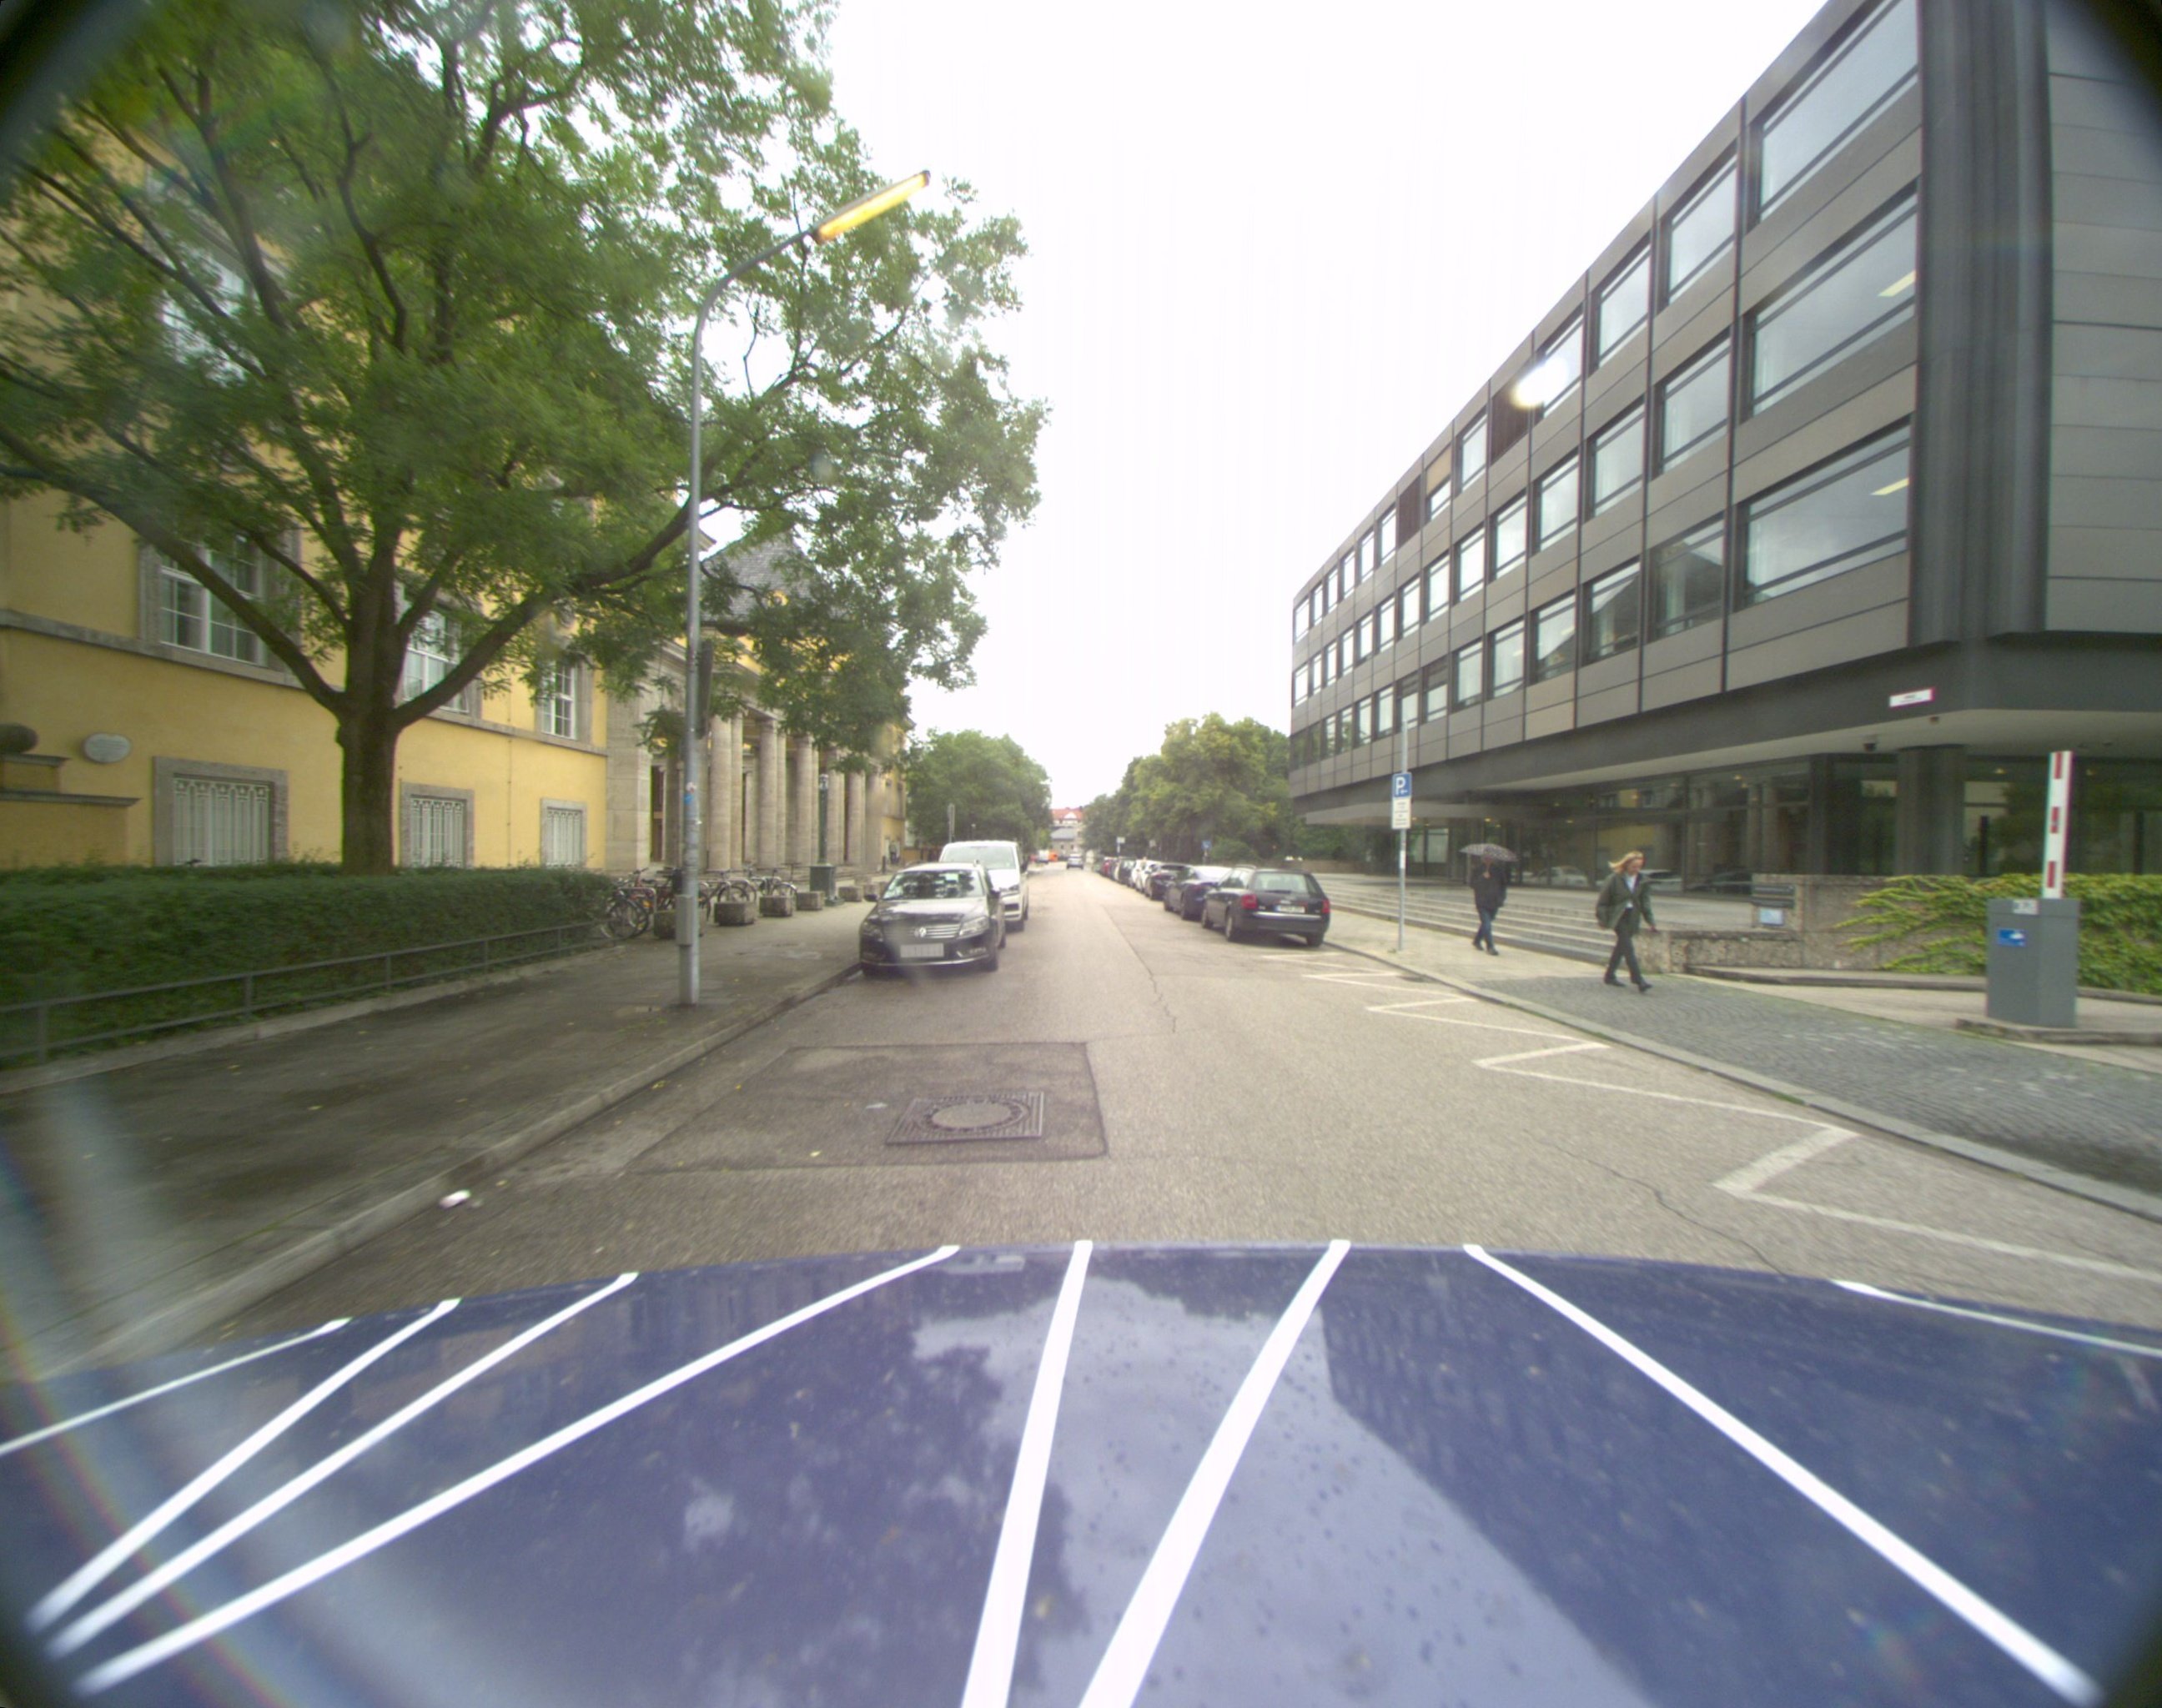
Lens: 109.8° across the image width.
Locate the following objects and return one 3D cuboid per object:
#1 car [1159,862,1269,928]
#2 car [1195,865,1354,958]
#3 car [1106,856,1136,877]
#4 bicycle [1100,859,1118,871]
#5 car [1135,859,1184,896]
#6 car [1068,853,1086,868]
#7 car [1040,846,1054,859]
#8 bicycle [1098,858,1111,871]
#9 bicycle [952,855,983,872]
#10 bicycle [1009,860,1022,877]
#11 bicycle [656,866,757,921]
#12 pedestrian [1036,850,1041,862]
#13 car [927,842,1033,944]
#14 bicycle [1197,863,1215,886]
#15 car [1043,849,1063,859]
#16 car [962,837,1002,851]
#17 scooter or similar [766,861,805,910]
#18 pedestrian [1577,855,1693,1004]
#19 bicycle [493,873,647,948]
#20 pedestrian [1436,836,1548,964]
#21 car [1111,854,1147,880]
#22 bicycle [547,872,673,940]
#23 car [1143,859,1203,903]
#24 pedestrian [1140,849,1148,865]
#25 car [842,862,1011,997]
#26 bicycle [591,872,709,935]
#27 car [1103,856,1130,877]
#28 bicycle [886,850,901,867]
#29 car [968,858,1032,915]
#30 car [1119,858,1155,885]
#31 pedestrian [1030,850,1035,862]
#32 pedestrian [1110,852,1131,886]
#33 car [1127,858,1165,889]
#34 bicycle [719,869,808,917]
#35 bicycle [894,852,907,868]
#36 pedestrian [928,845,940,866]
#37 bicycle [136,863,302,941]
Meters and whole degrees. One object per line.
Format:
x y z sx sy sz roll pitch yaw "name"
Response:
3.510 1.039 21.040 1.928 1.431 4.916 3 1 -3 "car"
3.772 1.046 15.783 1.998 1.482 4.883 2 0 0 "car"
2.973 0.877 57.155 1.999 1.452 4.646 1 0 0 "car"
2.705 1.081 73.236 1.700 1.101 0.598 0 1 -10 "bicycle"
3.486 1.018 34.375 1.686 1.432 4.278 3 0 -1 "car"
-0.397 0.695 89.634 2.030 1.679 4.677 1 0 0 "car"
-6.388 -0.289 143.079 2.237 2.289 4.727 -2 1 -7 "car"
2.318 0.997 74.754 0.574 1.275 1.421 0 0 31 "bicycle"
-8.959 0.756 59.778 2.265 1.088 0.601 6 1 -12 "bicycle"
-4.667 1.017 54.588 0.762 1.094 2.263 3 0 -2 "bicycle"
-8.129 0.848 16.512 1.936 1.107 0.471 2 1 1 "bicycle"
-7.057 0.361 126.262 0.777 1.855 0.996 -2 1 -7 "pedestrian"
-2.131 0.752 17.497 1.850 1.922 5.271 -2 0 -2 "car"
6.673 1.066 40.563 0.644 1.157 1.527 -2 0 -3 "bicycle"
-7.589 -0.113 205.925 4.973 2.521 2.578 -1 1 42 "car"
-12.676 -1.298 97.634 4.909 1.672 1.966 1 1 -3 "car"
-7.762 0.808 19.941 1.009 1.215 0.539 2 1 44 "scooter or similar"
6.817 0.894 9.405 0.754 1.739 0.953 -1 1 5 "pedestrian"
-8.109 0.891 12.102 2.037 1.107 0.471 2 1 -4 "bicycle"
6.902 0.740 12.842 1.138 2.043 1.221 2 1 -2 "pedestrian"
3.170 0.843 51.322 1.999 1.574 4.521 1 0 -1 "car"
-8.399 0.919 13.587 1.936 1.107 0.471 2 1 0 "bicycle"
3.479 0.991 29.338 1.744 1.452 4.236 3 0 0 "car"
7.059 0.317 85.228 0.798 1.722 0.660 -2 1 -3 "pedestrian"
-2.060 0.923 11.518 1.776 1.481 4.972 -2 0 -3 "car"
-8.145 0.929 14.381 1.936 1.107 0.471 2 1 1 "bicycle"
2.843 0.990 62.011 1.999 1.535 4.363 1 0 0 "car"
-14.780 0.367 59.994 0.601 1.299 2.263 1 0 -1 "bicycle"
-2.345 0.904 22.596 1.609 1.537 2.933 -1 0 -1 "car"
3.268 1.005 45.037 1.762 1.392 4.217 4 0 0 "car"
-8.068 0.357 126.014 0.777 1.855 0.996 -2 1 -9 "pedestrian"
2.080 0.780 39.775 0.893 1.741 0.689 3 0 -10 "pedestrian"
3.387 0.977 39.943 1.547 1.462 3.552 2 0 -1 "car"
-7.777 0.958 18.651 1.937 1.107 0.471 2 1 -4 "bicycle"
-14.828 0.472 62.352 0.601 1.299 2.164 1 0 -2 "bicycle"
-12.413 0.122 64.208 0.790 1.736 1.055 1 1 -2 "pedestrian"
-13.790 0.725 12.250 0.544 1.147 1.901 1 0 -2 "bicycle"
